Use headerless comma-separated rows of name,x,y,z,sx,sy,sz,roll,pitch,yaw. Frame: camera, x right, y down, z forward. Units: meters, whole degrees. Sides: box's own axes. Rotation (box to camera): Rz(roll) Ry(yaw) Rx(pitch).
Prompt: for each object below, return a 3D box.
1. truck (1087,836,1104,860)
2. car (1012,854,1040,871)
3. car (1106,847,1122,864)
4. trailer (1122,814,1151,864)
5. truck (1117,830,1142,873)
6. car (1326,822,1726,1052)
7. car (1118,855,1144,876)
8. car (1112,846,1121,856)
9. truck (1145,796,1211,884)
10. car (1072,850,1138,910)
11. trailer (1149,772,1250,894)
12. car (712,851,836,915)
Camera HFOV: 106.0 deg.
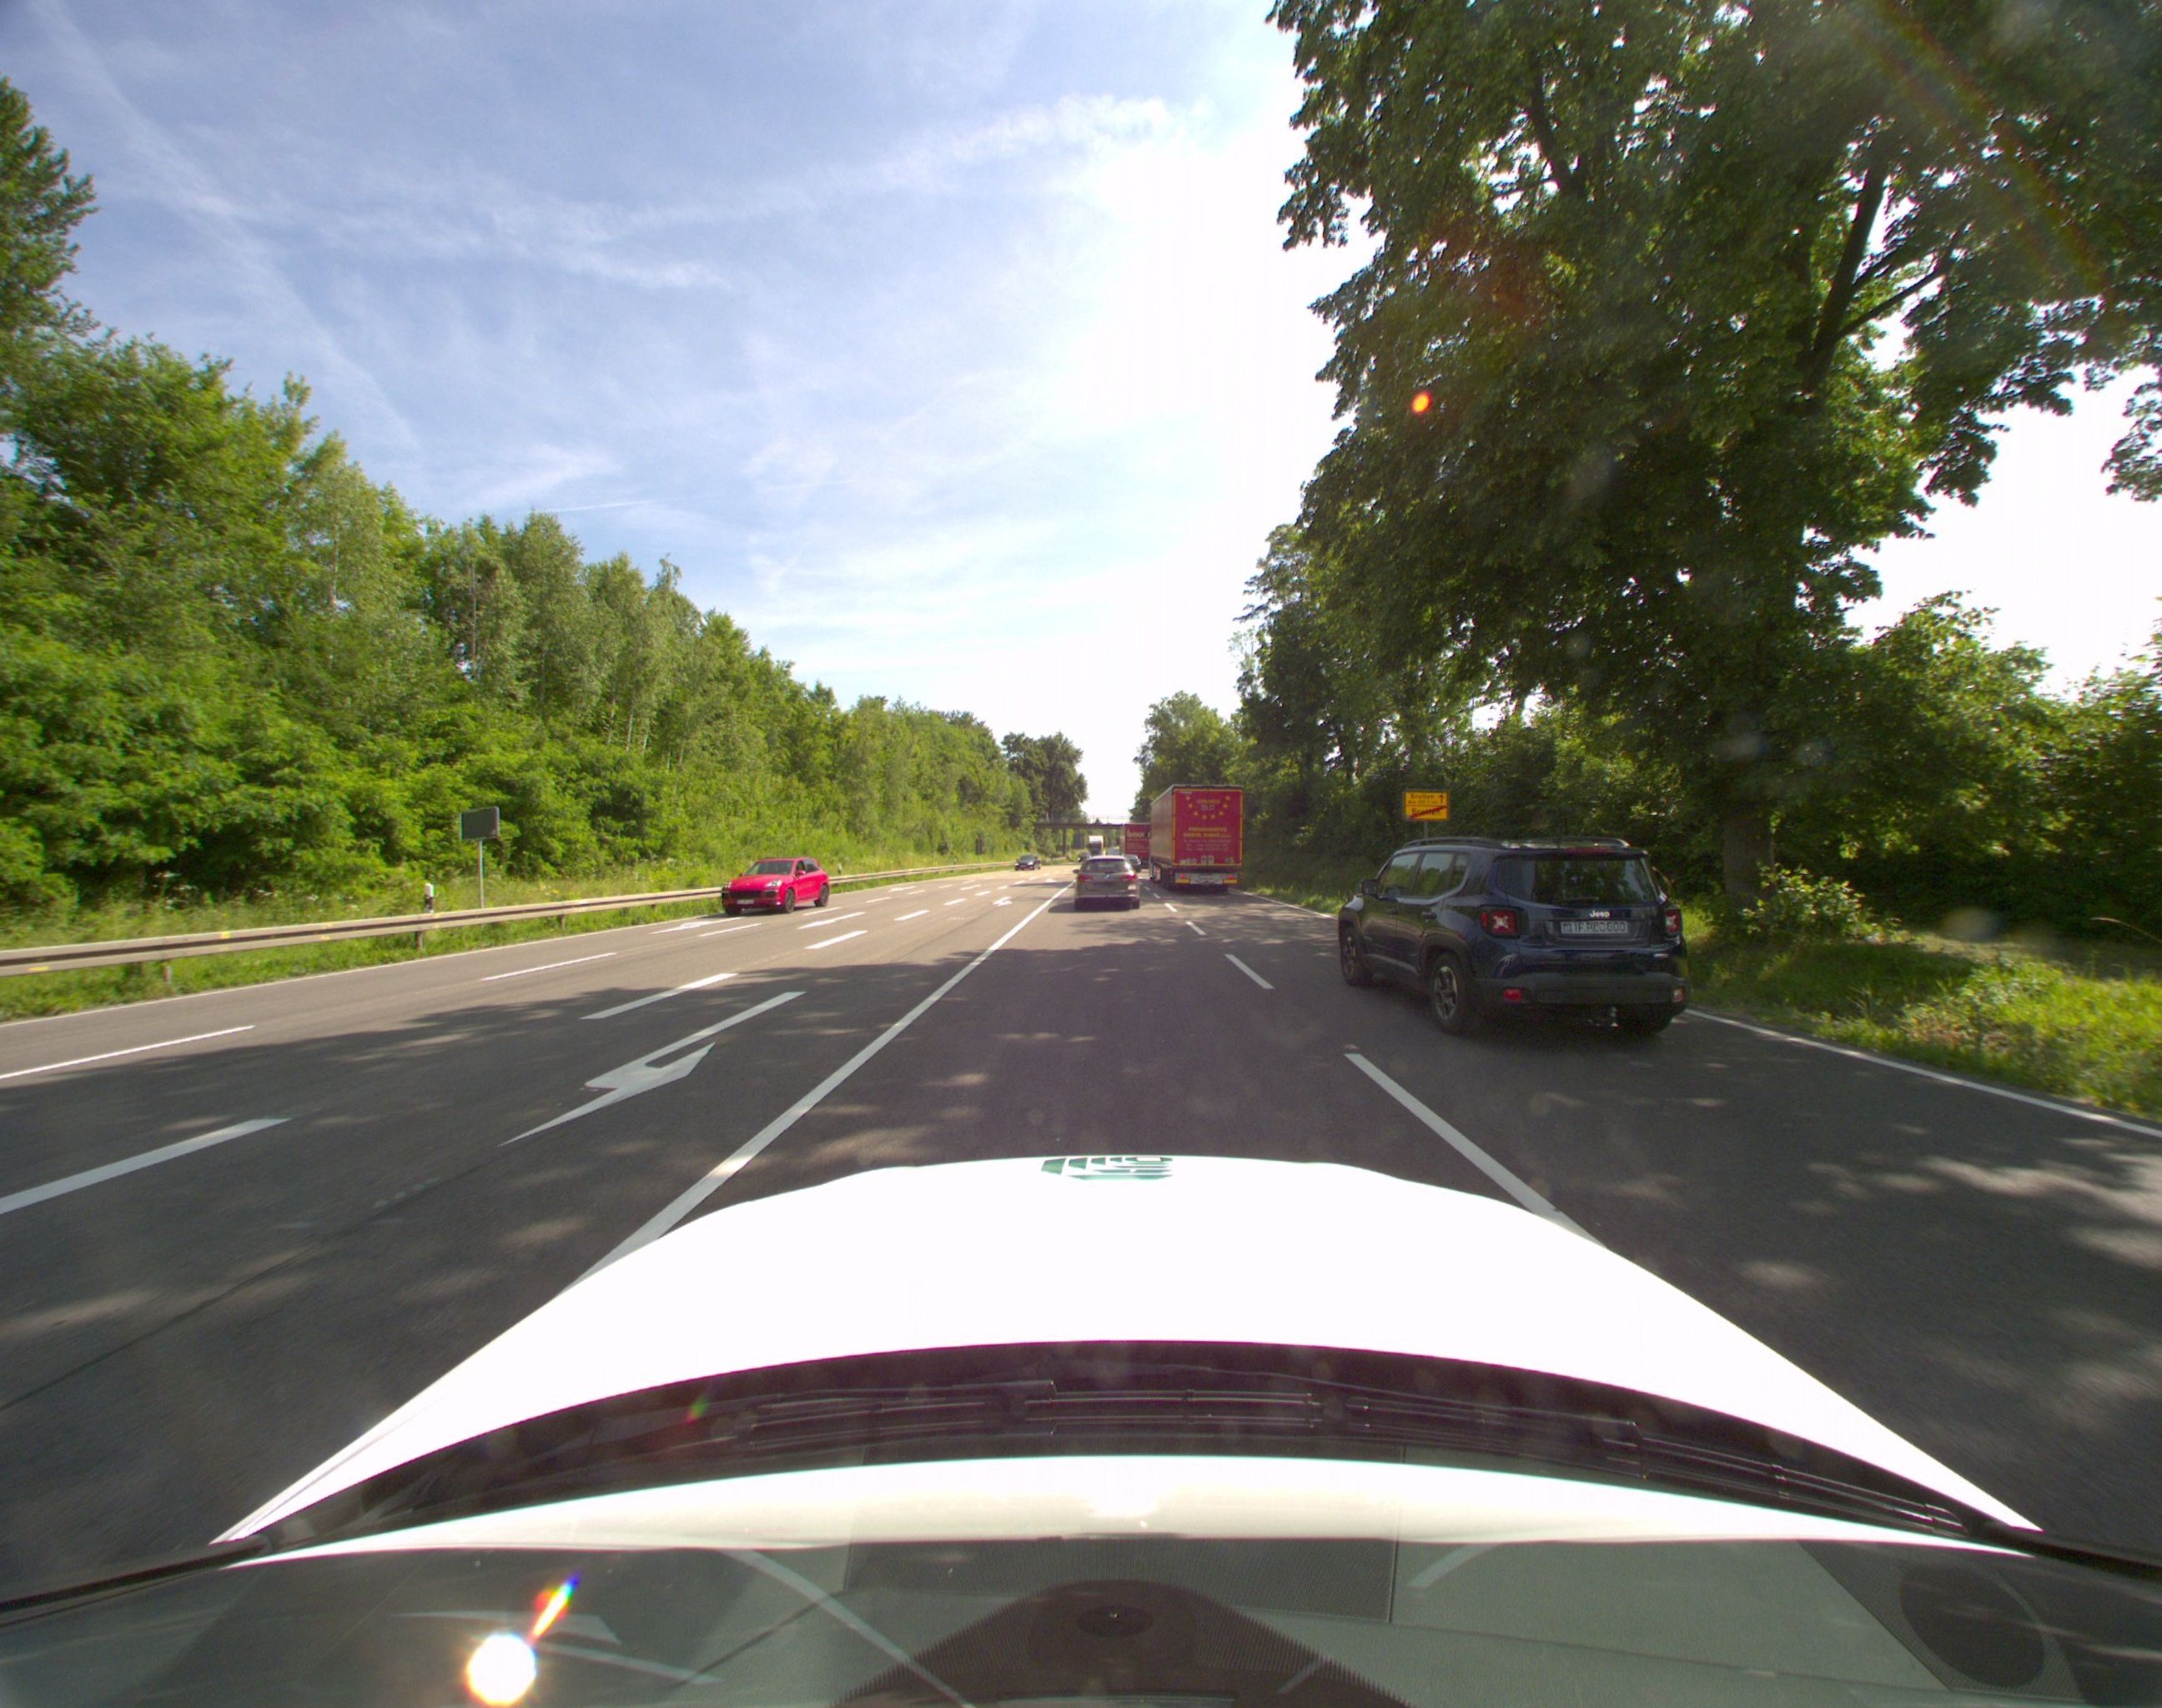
truck,2.466,-0.968,138.758,2.764,3.931,9.467,-1,-1,1
car,-5.019,0.769,74.827,1.953,1.415,4.006,-1,-1,5
car,3.948,0.238,98.647,1.764,1.936,3.978,-2,-1,1
trailer,5.190,-1.275,77.003,2.385,4.243,13.089,-2,-1,4
truck,4.975,-0.245,83.250,2.396,4.128,5.526,-2,-1,3
car,3.905,0.632,8.054,1.764,1.654,4.000,-2,-1,0
car,3.833,0.844,62.858,1.764,1.513,4.001,-2,-1,1
car,7.860,-0.654,181.785,1.986,2.014,4.001,-2,-1,1
truck,4.952,-0.651,42.654,2.860,4.281,5.840,0,-1,1
car,0.670,0.691,23.100,1.685,1.513,4.001,-2,-1,1
trailer,4.798,-0.699,35.781,2.829,4.365,13.170,0,0,1
car,-9.630,0.869,26.050,1.965,1.796,4.811,-2,-1,2
